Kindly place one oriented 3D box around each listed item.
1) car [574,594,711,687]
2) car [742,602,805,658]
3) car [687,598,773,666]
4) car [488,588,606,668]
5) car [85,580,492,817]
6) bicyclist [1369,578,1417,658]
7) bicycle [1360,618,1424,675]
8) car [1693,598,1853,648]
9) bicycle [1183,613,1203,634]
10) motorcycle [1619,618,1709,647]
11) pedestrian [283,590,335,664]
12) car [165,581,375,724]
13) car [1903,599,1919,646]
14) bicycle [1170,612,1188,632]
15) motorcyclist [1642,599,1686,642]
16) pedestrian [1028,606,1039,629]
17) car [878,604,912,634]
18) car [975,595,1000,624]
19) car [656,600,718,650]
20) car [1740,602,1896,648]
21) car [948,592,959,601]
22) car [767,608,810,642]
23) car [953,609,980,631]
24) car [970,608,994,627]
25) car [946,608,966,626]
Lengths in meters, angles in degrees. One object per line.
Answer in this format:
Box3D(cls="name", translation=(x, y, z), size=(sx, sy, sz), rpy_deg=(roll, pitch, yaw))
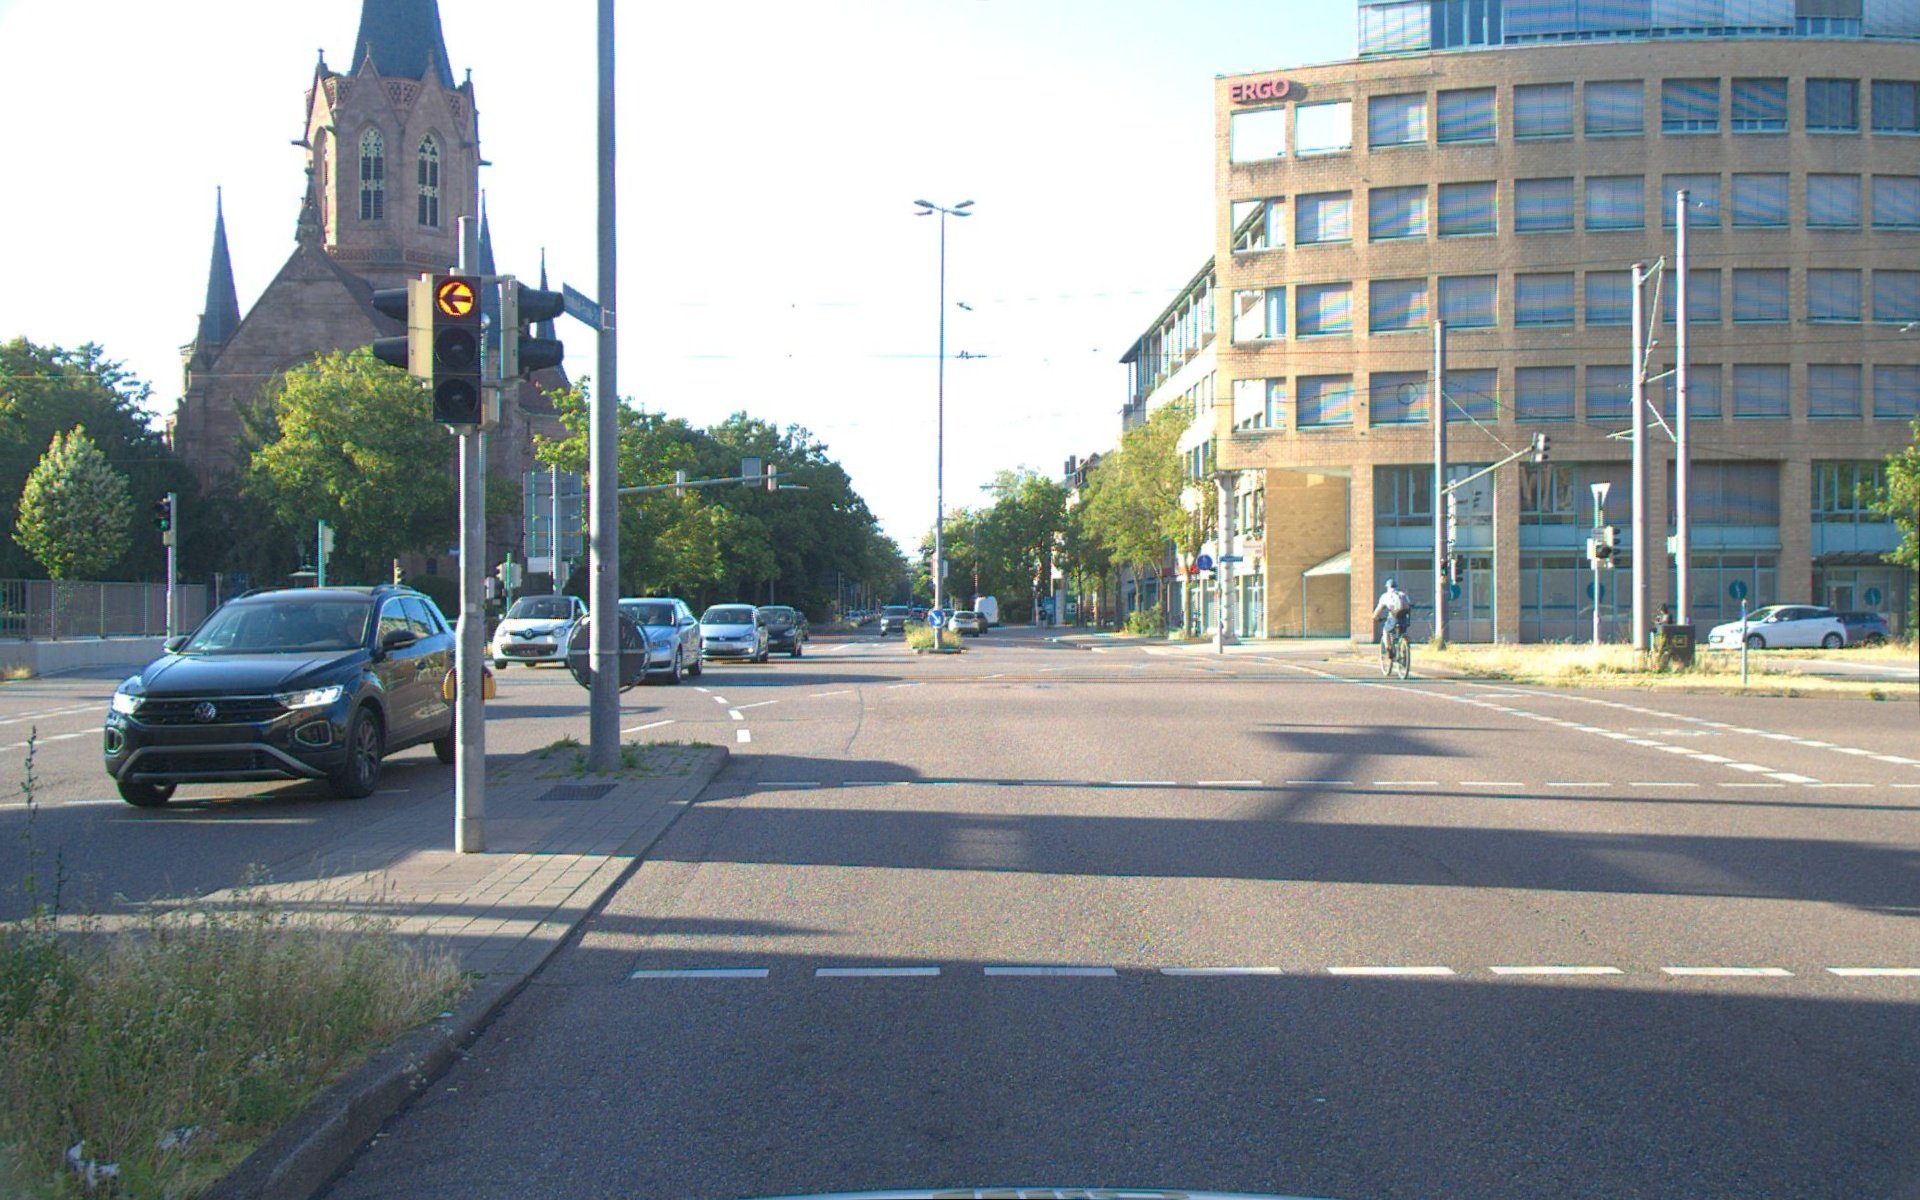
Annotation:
Box3D(cls="car", translation=(-5.550, 0.661, 29.339), size=(1.674, 1.450, 4.101), rpy_deg=(-2, 0, -1))
Box3D(cls="car", translation=(-5.706, 0.902, 50.893), size=(1.546, 1.571, 3.476), rpy_deg=(-2, 0, -1))
Box3D(cls="car", translation=(-5.745, 0.764, 41.688), size=(1.641, 1.571, 3.805), rpy_deg=(-2, 0, -1))
Box3D(cls="car", translation=(-8.865, 0.563, 35.764), size=(1.641, 1.571, 3.637), rpy_deg=(-2, 0, -1))
Box3D(cls="car", translation=(-5.180, 0.659, 13.382), size=(1.641, 1.571, 4.101), rpy_deg=(-2, 0, -1))
Box3D(cls="bicyclist", translation=(7.712, 0.310, 29.497), size=(0.580, 1.393, 0.929), rpy_deg=(1, 0, -1))
Box3D(cls="bicycle", translation=(7.715, 0.814, 29.603), size=(0.580, 0.959, 1.978), rpy_deg=(1, 0, -1))
Box3D(cls="car", translation=(25.620, 0.730, 52.223), size=(4.080, 1.518, 1.994), rpy_deg=(0, -1, -3))
Box3D(cls="bicycle", translation=(11.342, 1.117, 80.528), size=(0.633, 1.012, 2.080), rpy_deg=(0, 0, -2))
Box3D(cls="motorcycle", translation=(24.335, 1.116, 57.191), size=(2.663, 0.981, 1.031), rpy_deg=(0, -1, -2))
Box3D(cls="pedestrian", translation=(-15.731, 0.642, 40.004), size=(0.945, 1.770, 0.811), rpy_deg=(0, -1, -3))
Box3D(cls="car", translation=(-8.528, 0.598, 20.655), size=(1.504, 1.620, 2.806), rpy_deg=(-2, 0, -3))
Box3D(cls="car", translation=(32.382, 0.703, 52.437), size=(3.970, 1.518, 1.819), rpy_deg=(0, -1, -2))
Box3D(cls="bicycle", translation=(11.237, 1.135, 84.915), size=(0.633, 1.012, 2.080), rpy_deg=(0, 0, -2))
Box3D(cls="motorcyclist", translation=(24.348, 0.702, 57.197), size=(1.044, 1.460, 1.031), rpy_deg=(0, -1, -2))
Box3D(cls="pedestrian", translation=(5.814, 1.365, 130.754), size=(0.830, 1.835, 0.775), rpy_deg=(0, 0, -1))
Box3D(cls="car", translation=(-3.901, 1.159, 100.018), size=(1.953, 1.754, 5.029), rpy_deg=(-1, -1, -2))
Box3D(cls="car", translation=(2.392, 0.844, 144.744), size=(1.953, 2.483, 3.999), rpy_deg=(1, 0, -1))
Box3D(cls="car", translation=(-9.272, 0.812, 56.285), size=(1.546, 1.571, 3.476), rpy_deg=(-2, 0, -1))
Box3D(cls="car", translation=(29.711, 0.865, 57.385), size=(4.390, 1.564, 1.986), rpy_deg=(0, -1, -1))
Box3D(cls="car", translation=(-1.001, -0.574, 255.365), size=(1.562, 1.289, 3.266), rpy_deg=(0, 0, -1))
Box3D(cls="car", translation=(-9.220, 1.350, 89.078), size=(1.953, 1.754, 4.591), rpy_deg=(-1, -1, -2))
Box3D(cls="car", translation=(0.364, 1.170, 97.880), size=(1.562, 1.289, 3.266), rpy_deg=(0, 0, -1))
Box3D(cls="car", translation=(1.510, 1.200, 115.517), size=(1.562, 1.289, 3.266), rpy_deg=(0, 0, -1))
Box3D(cls="car", translation=(-0.324, 1.314, 128.003), size=(1.562, 1.289, 3.266), rpy_deg=(0, 0, -1))
